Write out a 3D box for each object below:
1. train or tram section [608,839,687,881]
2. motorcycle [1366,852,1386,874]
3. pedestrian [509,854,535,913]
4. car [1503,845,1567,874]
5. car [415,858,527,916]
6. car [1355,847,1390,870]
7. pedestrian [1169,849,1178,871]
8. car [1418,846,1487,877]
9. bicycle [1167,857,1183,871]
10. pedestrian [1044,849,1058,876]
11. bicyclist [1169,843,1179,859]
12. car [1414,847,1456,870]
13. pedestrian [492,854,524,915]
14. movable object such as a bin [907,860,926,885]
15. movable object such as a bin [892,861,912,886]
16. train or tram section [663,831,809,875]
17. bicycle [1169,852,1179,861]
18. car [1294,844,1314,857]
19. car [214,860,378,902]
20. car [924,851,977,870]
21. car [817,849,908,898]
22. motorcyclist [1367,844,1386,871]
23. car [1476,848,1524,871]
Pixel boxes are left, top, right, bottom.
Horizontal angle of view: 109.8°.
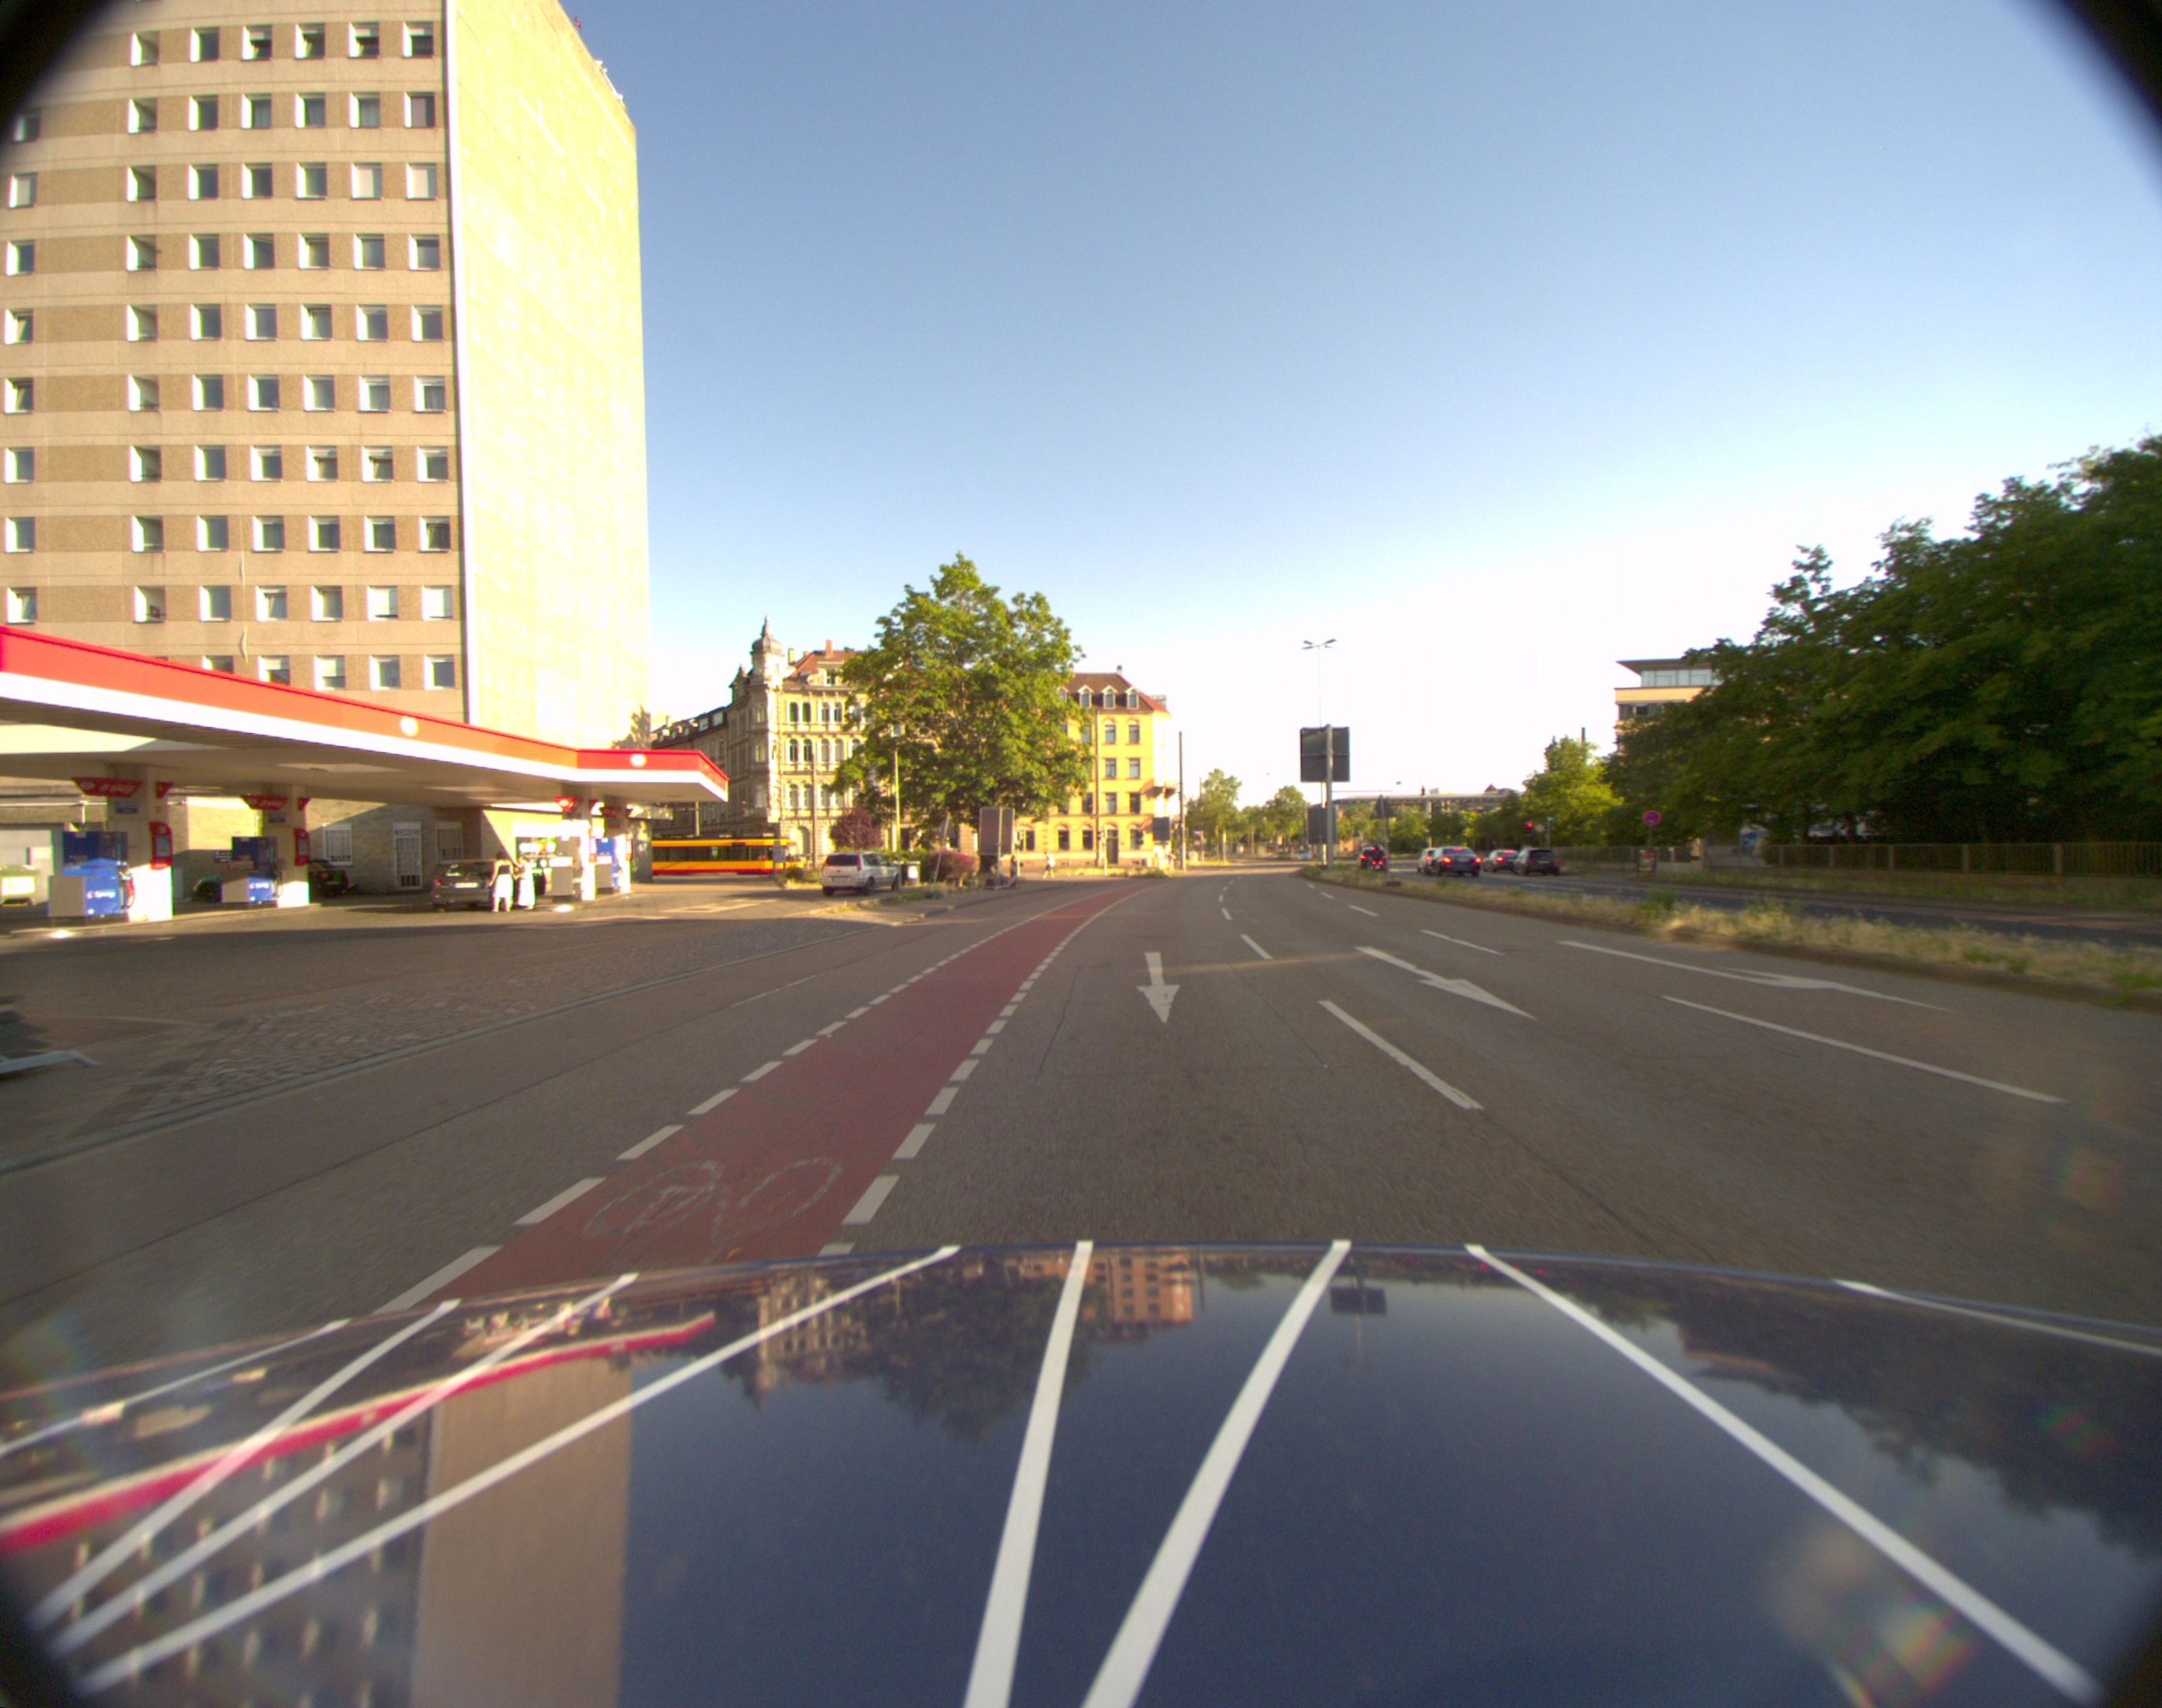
[{"bbox_3d":[-37.541,0.525,65.848,5.294,3.487,2.872,-1,1,13],"label":"train or tram section"},{"bbox_3d":[15.708,0.449,40.449,0.859,1.101,2.473,-1,0,18],"label":"motorcycle"},{"bbox_3d":[-15.690,0.808,21.325,0.535,1.612,0.567,-1,1,-35],"label":"pedestrian"},{"bbox_3d":[24.183,0.252,40.630,1.856,1.455,4.004,-1,0,14],"label":"car"},{"bbox_3d":[-17.129,0.866,21.499,1.592,1.431,3.295,-1,1,-23],"label":"car"},{"bbox_3d":[17.109,0.247,44.707,1.720,1.289,4.382,-1,0,18],"label":"car"},{"bbox_3d":[7.038,0.453,57.606,0.488,1.622,0.526,0,1,37],"label":"pedestrian"},{"bbox_3d":[19.066,0.346,39.221,1.996,1.487,5.297,-1,0,12],"label":"car"},{"bbox_3d":[7.147,0.766,57.599,0.398,1.023,1.675,0,1,37],"label":"bicycle"},{"bbox_3d":[-2.007,0.564,50.919,0.826,1.778,0.912,-1,1,5],"label":"pedestrian"},{"bbox_3d":[10.803,-0.345,88.541,1.070,1.831,1.304,-1,1,9],"label":"bicyclist"},{"bbox_3d":[21.658,0.268,46.605,1.721,1.311,3.899,-1,0,16],"label":"car"},{"bbox_3d":[-15.559,0.815,20.649,0.534,1.612,0.567,-1,1,-22],"label":"pedestrian"},{"bbox_3d":[-6.798,0.751,31.361,0.573,1.023,0.674,-1,1,5],"label":"movable object such as a bin"},{"bbox_3d":[-7.436,0.816,31.596,0.573,1.023,0.674,-1,1,5],"label":"movable object such as a bin"},{"bbox_3d":[-29.287,-0.072,64.709,11.283,3.487,2.871,-1,1,6],"label":"train or tram section"},{"bbox_3d":[10.820,0.242,88.564,1.070,1.018,2.977,-1,0,8],"label":"bicycle"},{"bbox_3d":[28.165,-0.411,95.941,1.997,1.565,4.003,-1,0,10],"label":"car"},{"bbox_3d":[-29.267,0.995,28.439,3.997,1.440,2.000,-1,0,0],"label":"car"},{"bbox_3d":[-11.655,0.545,68.064,4.464,1.605,1.820,-1,1,-6],"label":"car"},{"bbox_3d":[-7.721,0.631,27.247,1.622,1.584,3.896,-1,1,8],"label":"car"},{"bbox_3d":[15.649,0.173,40.280,0.852,1.390,1.063,0,1,18],"label":"motorcyclist"},{"bbox_3d":[25.589,0.307,46.504,1.721,1.289,3.899,-1,0,16],"label":"car"}]
